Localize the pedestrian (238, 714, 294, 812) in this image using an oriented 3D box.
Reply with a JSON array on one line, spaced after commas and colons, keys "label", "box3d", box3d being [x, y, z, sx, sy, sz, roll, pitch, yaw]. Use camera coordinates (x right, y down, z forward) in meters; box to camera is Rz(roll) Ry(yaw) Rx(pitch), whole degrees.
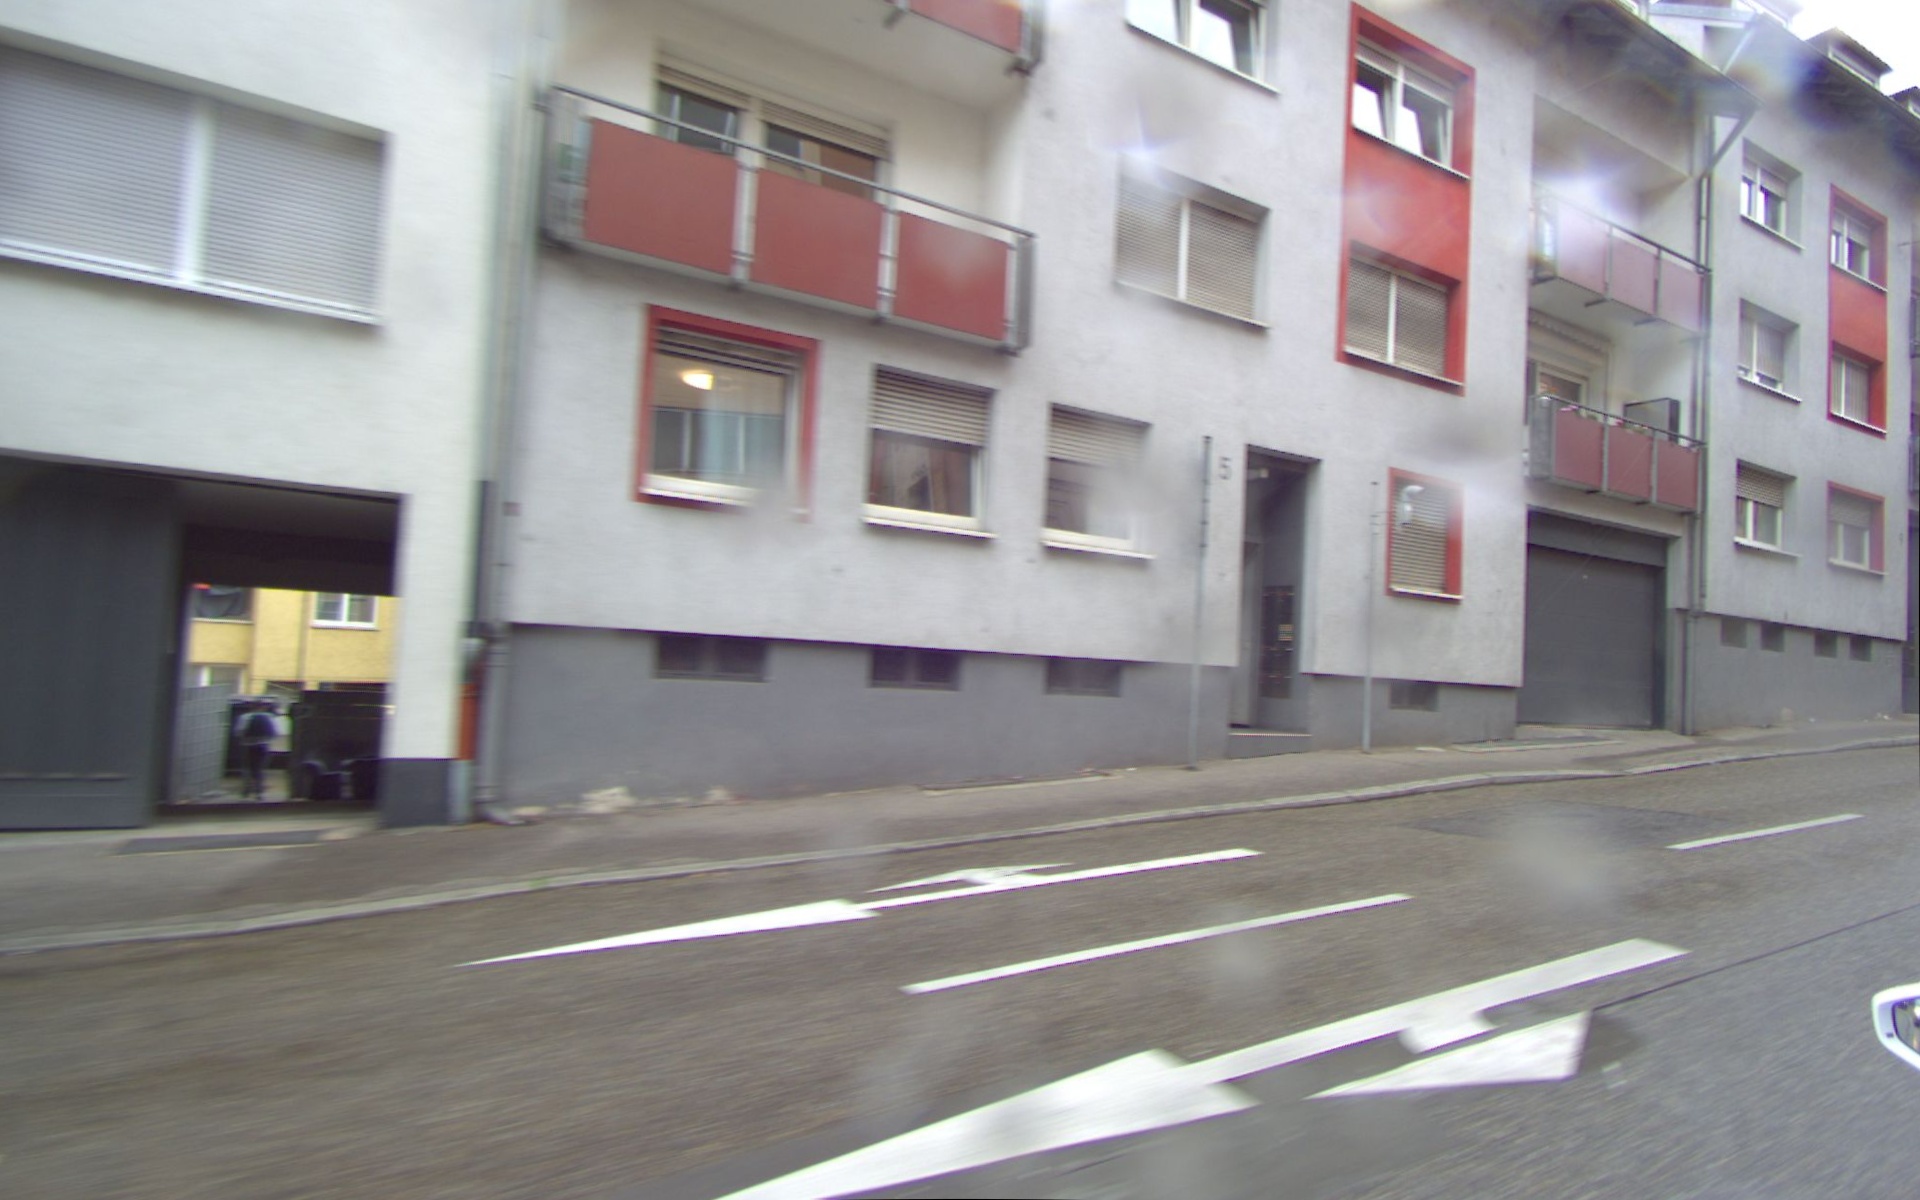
[{"label": "pedestrian", "box3d": [-10.497, 2.459, 15.206, 0.643, 1.401, 0.645, 2, -10, -34]}]
